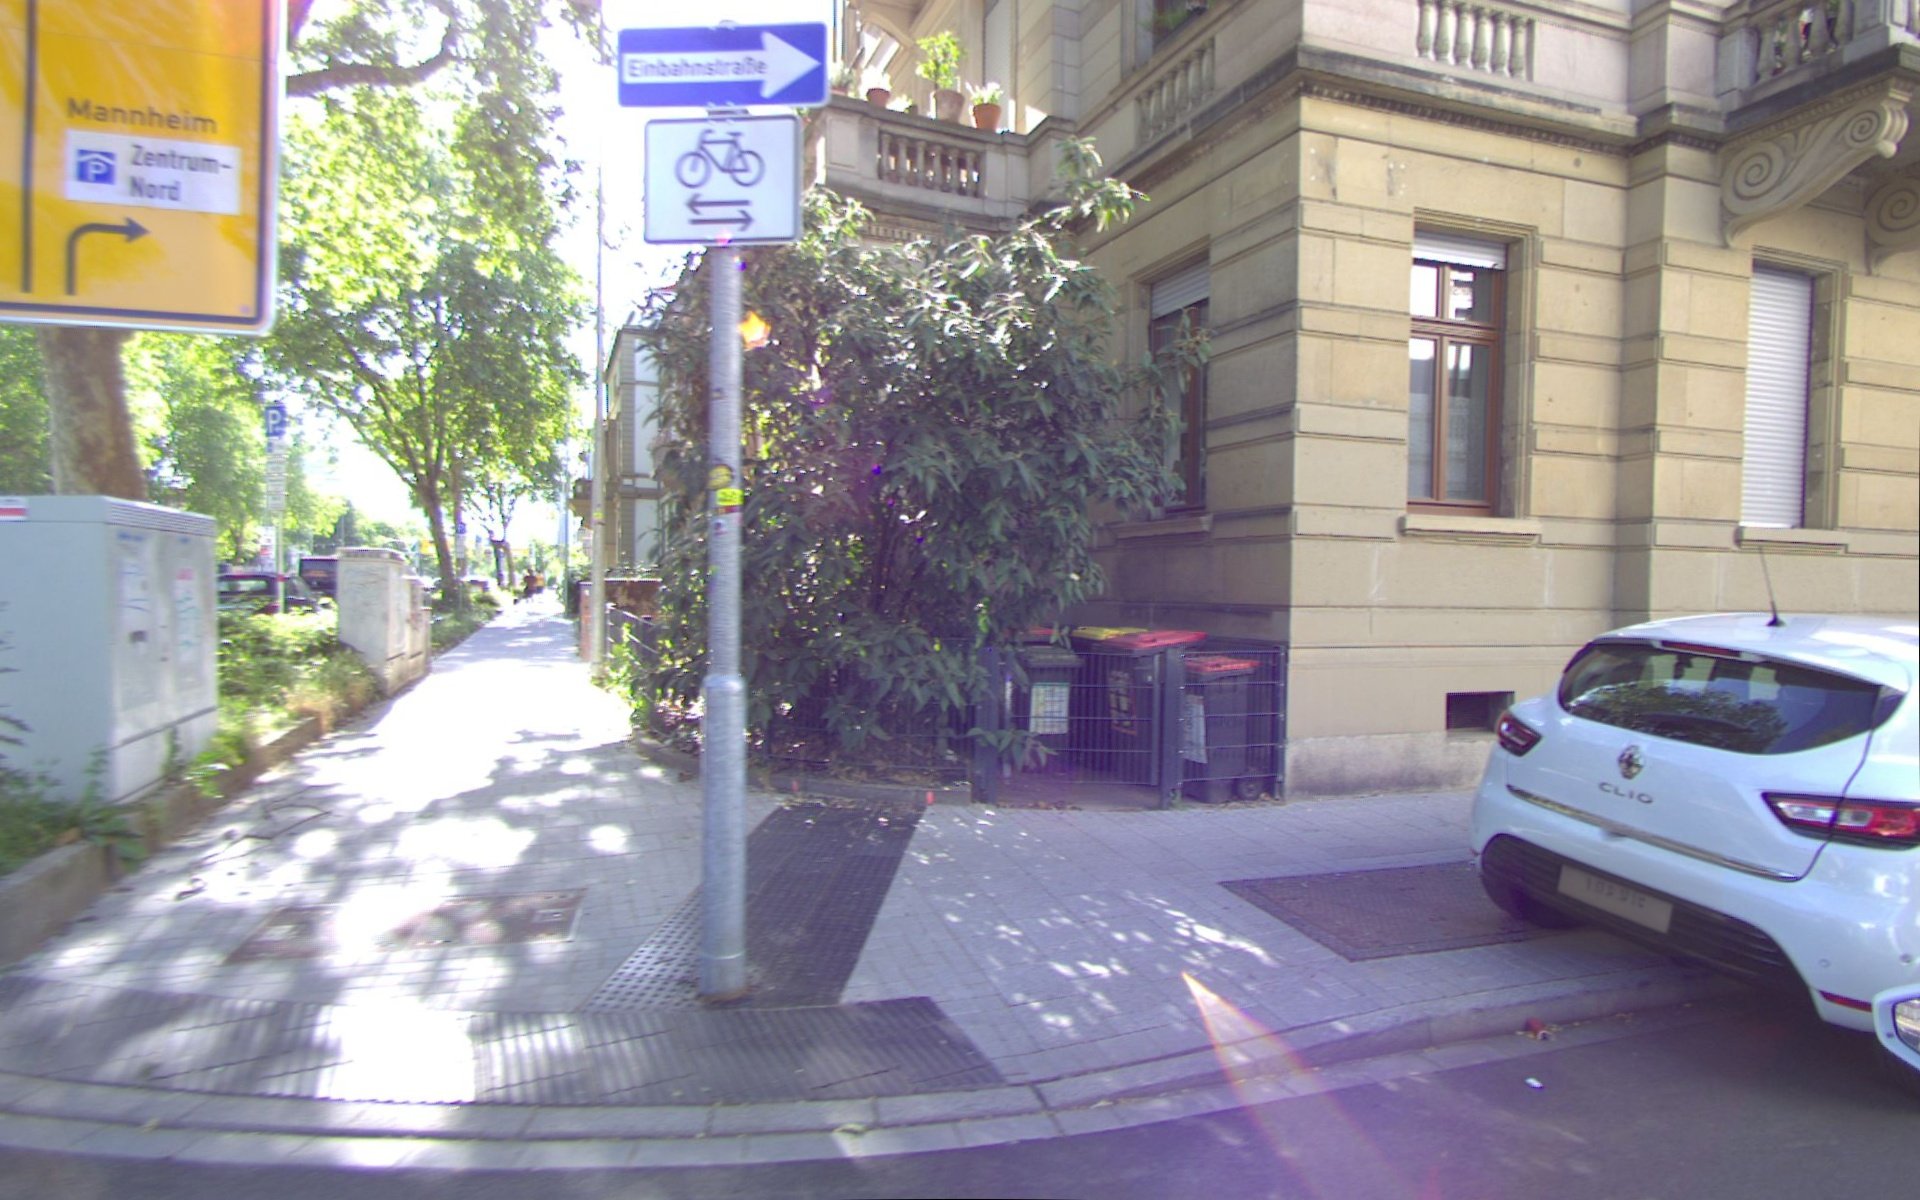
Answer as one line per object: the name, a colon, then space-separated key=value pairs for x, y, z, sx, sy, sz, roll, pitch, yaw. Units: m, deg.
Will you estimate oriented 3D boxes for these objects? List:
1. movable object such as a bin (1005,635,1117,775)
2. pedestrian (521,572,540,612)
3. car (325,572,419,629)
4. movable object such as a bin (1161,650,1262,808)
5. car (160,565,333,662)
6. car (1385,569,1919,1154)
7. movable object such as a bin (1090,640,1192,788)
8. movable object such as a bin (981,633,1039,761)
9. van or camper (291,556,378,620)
movable object such as a bin: x=0.761 y=0.772 z=7.643 sx=0.679 sy=0.983 sz=0.545 roll=0 pitch=1 yaw=-20
pedestrian: x=-18.169 y=-0.330 z=42.497 sx=0.638 sy=1.675 sz=0.728 roll=2 pitch=0 yaw=-29
car: x=-17.700 y=0.000 z=30.398 sx=1.752 sy=1.589 sz=3.981 roll=0 pitch=1 yaw=-20
movable object such as a bin: x=1.669 y=0.839 z=6.695 sx=0.513 sy=0.983 sz=0.396 roll=0 pitch=1 yaw=-20
car: x=-13.084 y=0.198 z=18.683 sx=1.753 sy=1.589 sz=3.978 roll=0 pitch=1 yaw=-23
car: x=4.070 y=0.737 z=4.315 sx=3.883 sy=1.582 sz=1.863 roll=1 pitch=2 yaw=-21
movable object such as a bin: x=1.289 y=0.795 z=7.213 sx=0.513 sy=0.983 sz=0.545 roll=0 pitch=1 yaw=-20
movable object such as a bin: x=0.395 y=0.767 z=8.072 sx=0.339 sy=0.983 sz=0.380 roll=0 pitch=1 yaw=-20
van or camper: x=-24.780 y=-0.460 z=39.967 sx=2.221 sy=2.377 sz=4.511 roll=1 pitch=0 yaw=-23
